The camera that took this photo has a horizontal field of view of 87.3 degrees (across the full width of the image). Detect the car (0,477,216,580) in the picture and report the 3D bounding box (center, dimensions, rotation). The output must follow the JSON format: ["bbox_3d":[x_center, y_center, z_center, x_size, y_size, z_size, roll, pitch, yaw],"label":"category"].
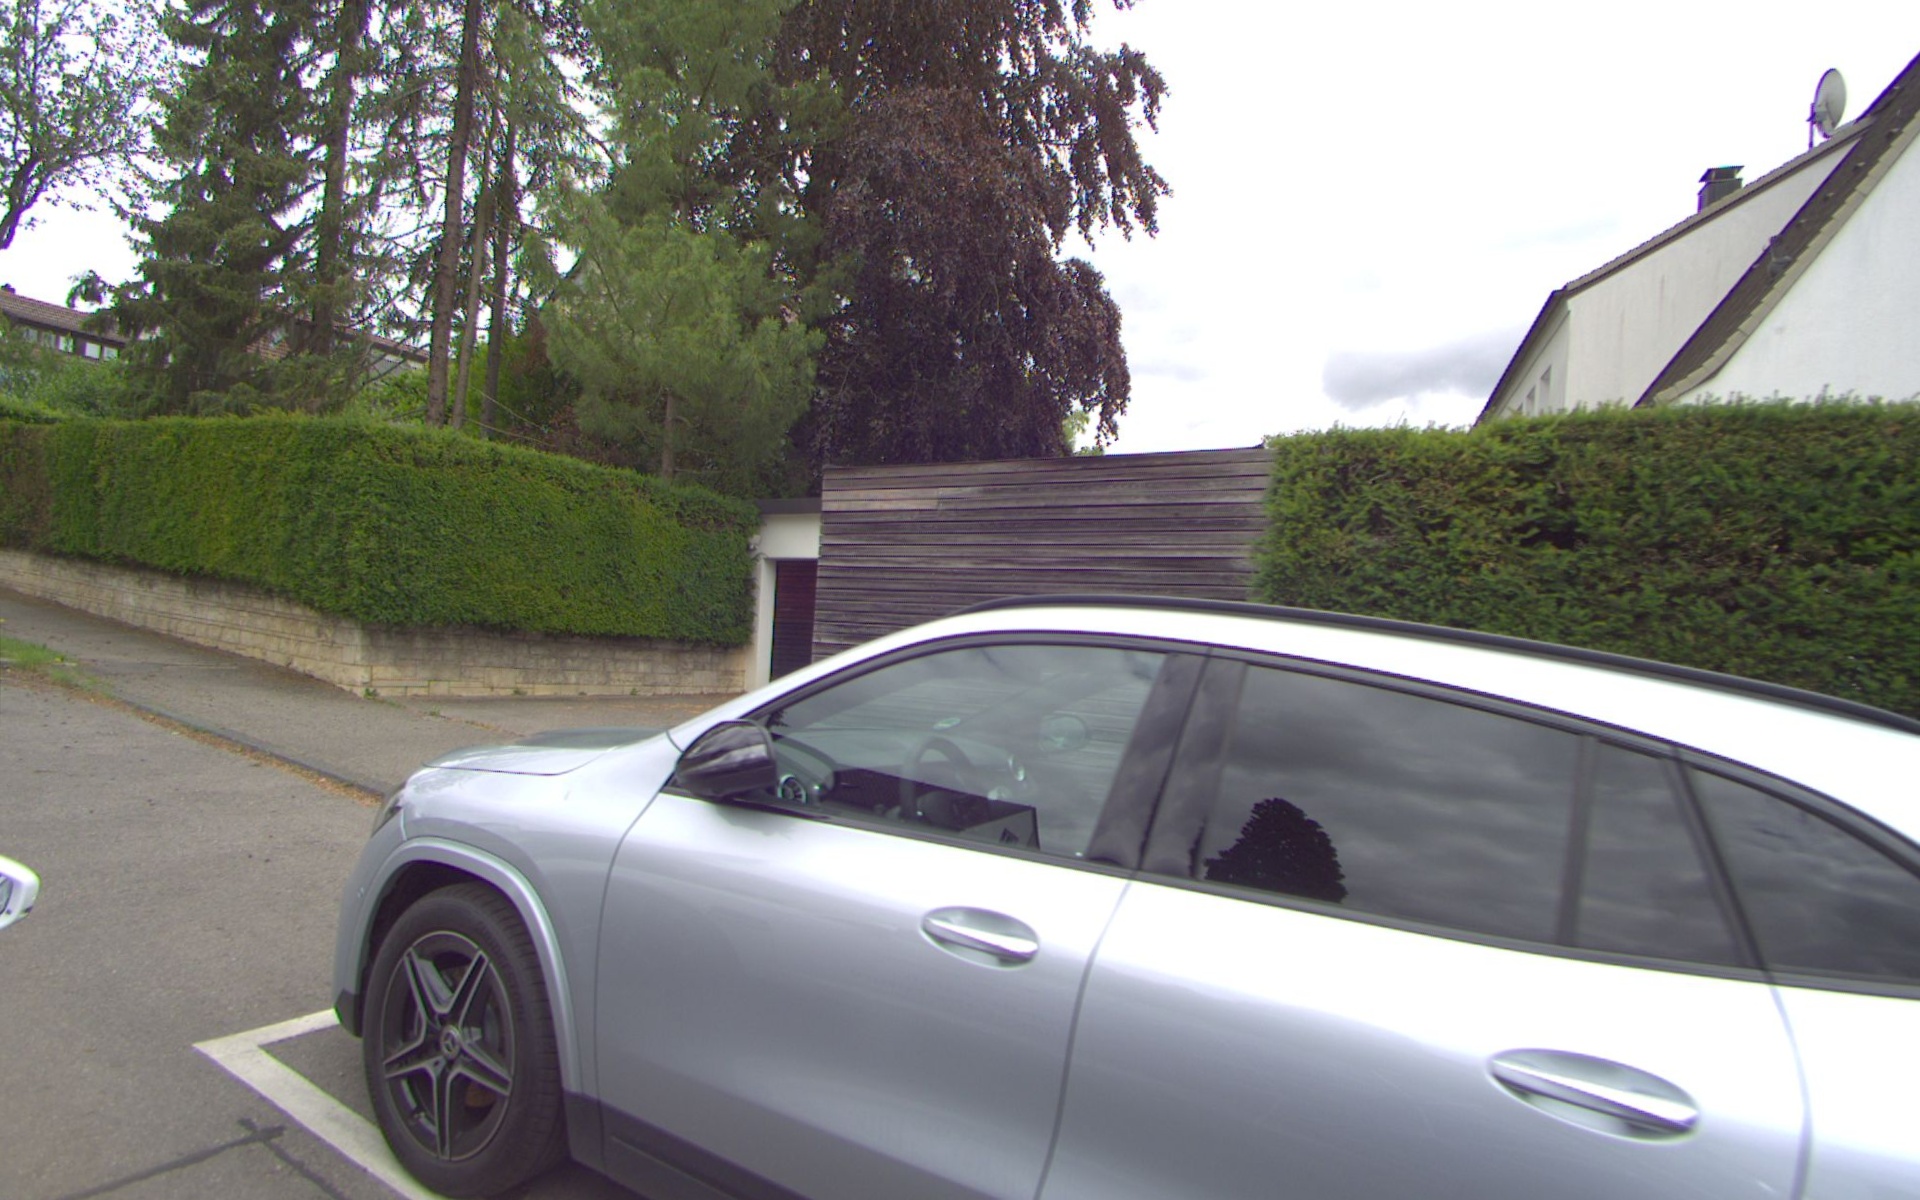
[{"bbox_3d":[-17.142,-1.394,19.284,1.848,1.620,4.217,8,1,22],"label":"car"}]

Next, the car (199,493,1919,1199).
[{"bbox_3d":[0.165,0.770,2.658,4.100,1.600,1.859,6,-1,29],"label":"car"}]
